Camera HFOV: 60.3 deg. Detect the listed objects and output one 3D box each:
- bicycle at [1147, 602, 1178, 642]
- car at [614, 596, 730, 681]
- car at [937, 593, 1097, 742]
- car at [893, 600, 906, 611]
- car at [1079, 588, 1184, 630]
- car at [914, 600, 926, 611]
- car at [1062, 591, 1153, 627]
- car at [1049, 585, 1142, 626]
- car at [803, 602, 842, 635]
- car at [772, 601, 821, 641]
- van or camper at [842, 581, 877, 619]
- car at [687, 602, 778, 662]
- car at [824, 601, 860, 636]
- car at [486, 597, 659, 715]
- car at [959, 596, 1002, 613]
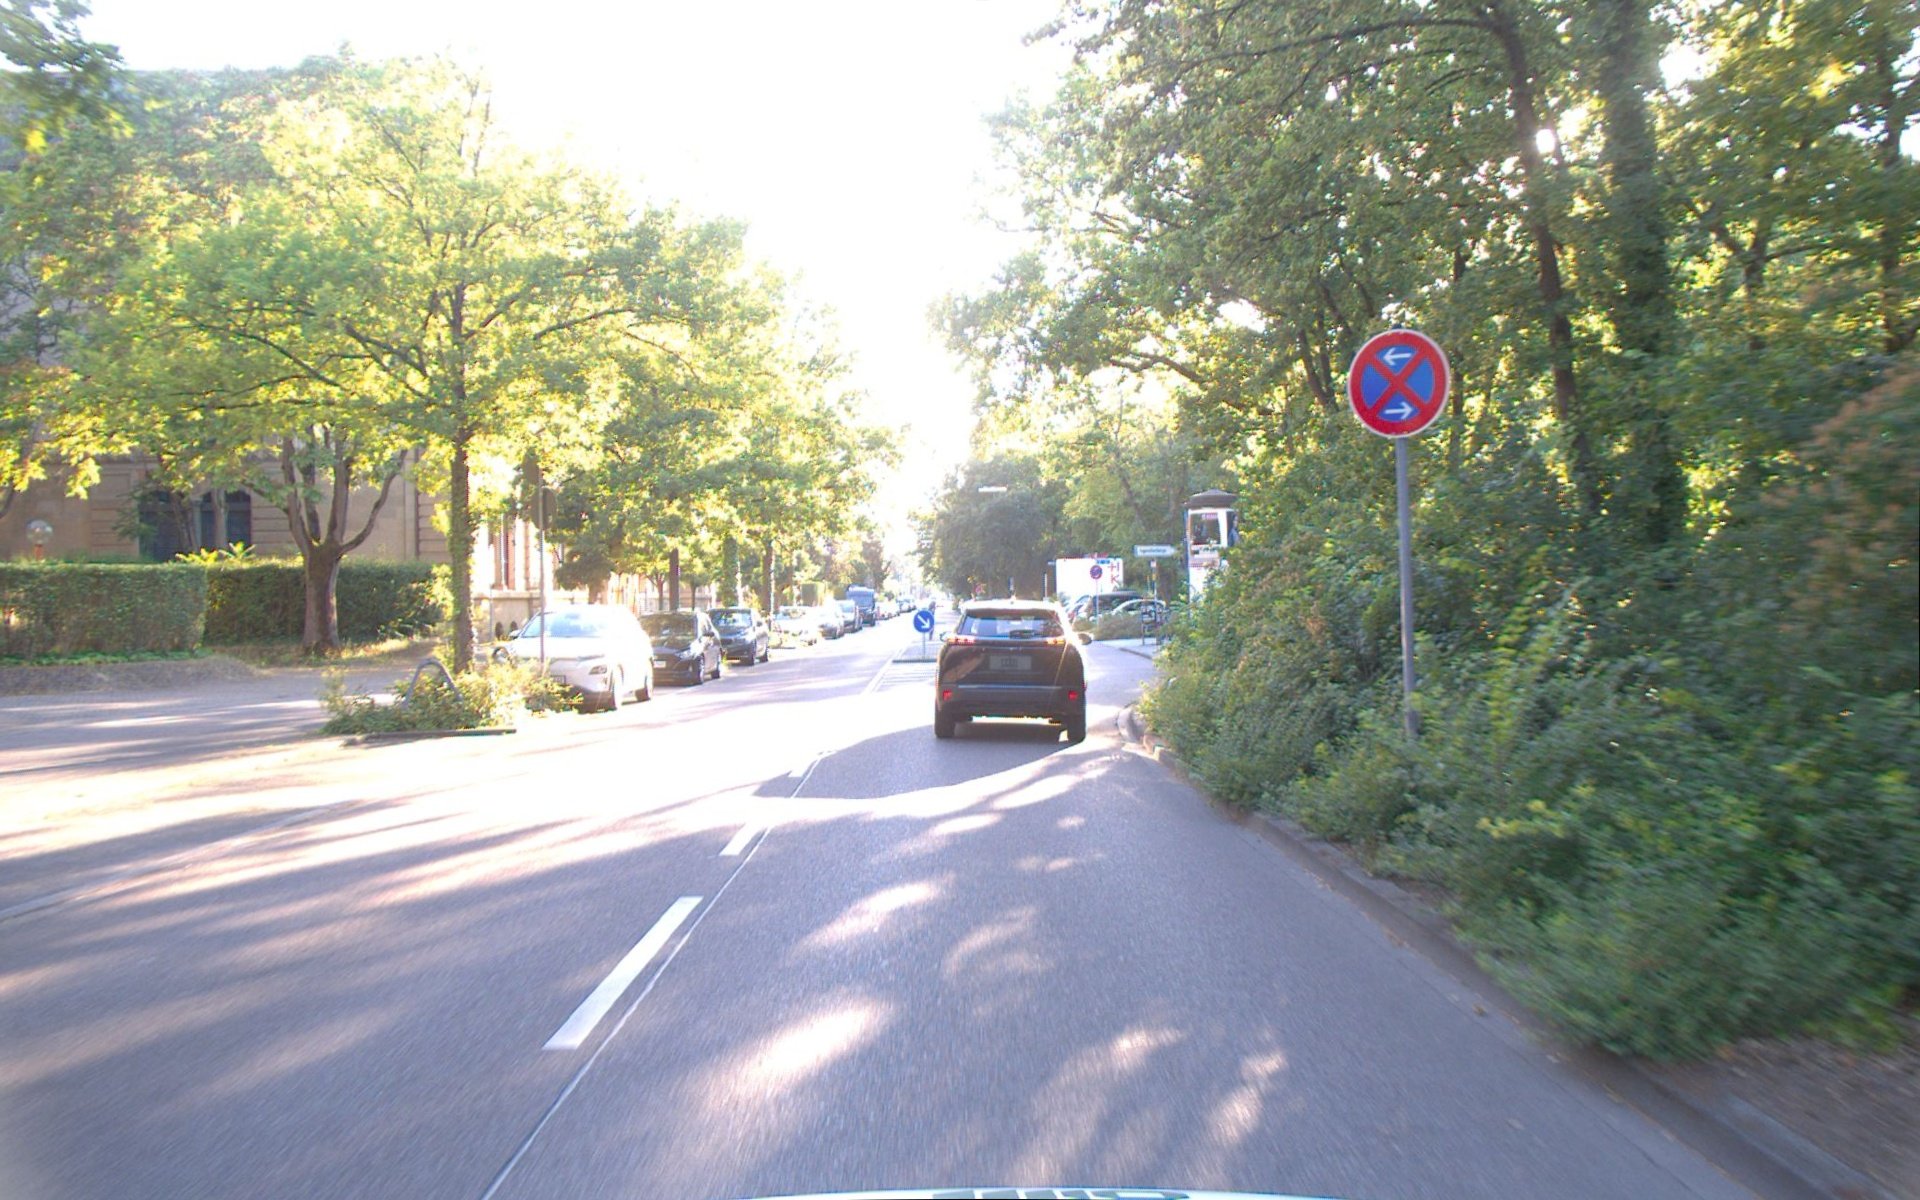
[{"bbox_3d":[6.578,0.702,53.691,0.482,1.168,2.286,-4,0,19],"label":"bicycle"},{"bbox_3d":[-5.889,0.759,34.242,1.744,1.644,4.146,0,0,-1],"label":"car"},{"bbox_3d":[0.590,0.725,19.919,1.735,1.596,4.108,0,0,-1],"label":"car"},{"bbox_3d":[-8.715,0.777,239.541,1.861,1.601,3.999,-1,0,-1],"label":"car"},{"bbox_3d":[7.462,0.372,72.131,4.275,1.581,1.727,-3,0,-2],"label":"car"},{"bbox_3d":[-5.733,0.782,236.546,1.706,1.483,4.622,-2,0,-1],"label":"car"},{"bbox_3d":[7.362,0.433,82.957,4.275,1.564,1.920,-3,0,-2],"label":"car"},{"bbox_3d":[7.344,0.281,90.070,4.755,1.949,1.915,-3,0,-2],"label":"car"},{"bbox_3d":[-6.490,0.852,78.356,1.585,1.522,4.376,-1,0,-1],"label":"car"},{"bbox_3d":[-6.459,0.808,65.633,1.585,1.522,3.923,-1,0,-1],"label":"car"},{"bbox_3d":[-6.993,0.008,115.658,2.184,2.589,7.077,0,0,-1],"label":"van or camper"},{"bbox_3d":[-6.121,0.827,44.951,1.765,1.537,4.862,0,0,0],"label":"car"},{"bbox_3d":[-6.822,1.061,96.014,1.741,1.898,4.332,1,0,-1],"label":"car"},{"bbox_3d":[-5.931,0.808,25.772,1.767,1.644,4.146,-1,0,-1],"label":"car"},{"bbox_3d":[2.049,0.477,166.487,4.158,1.474,2.020,-3,0,-3],"label":"car"}]
